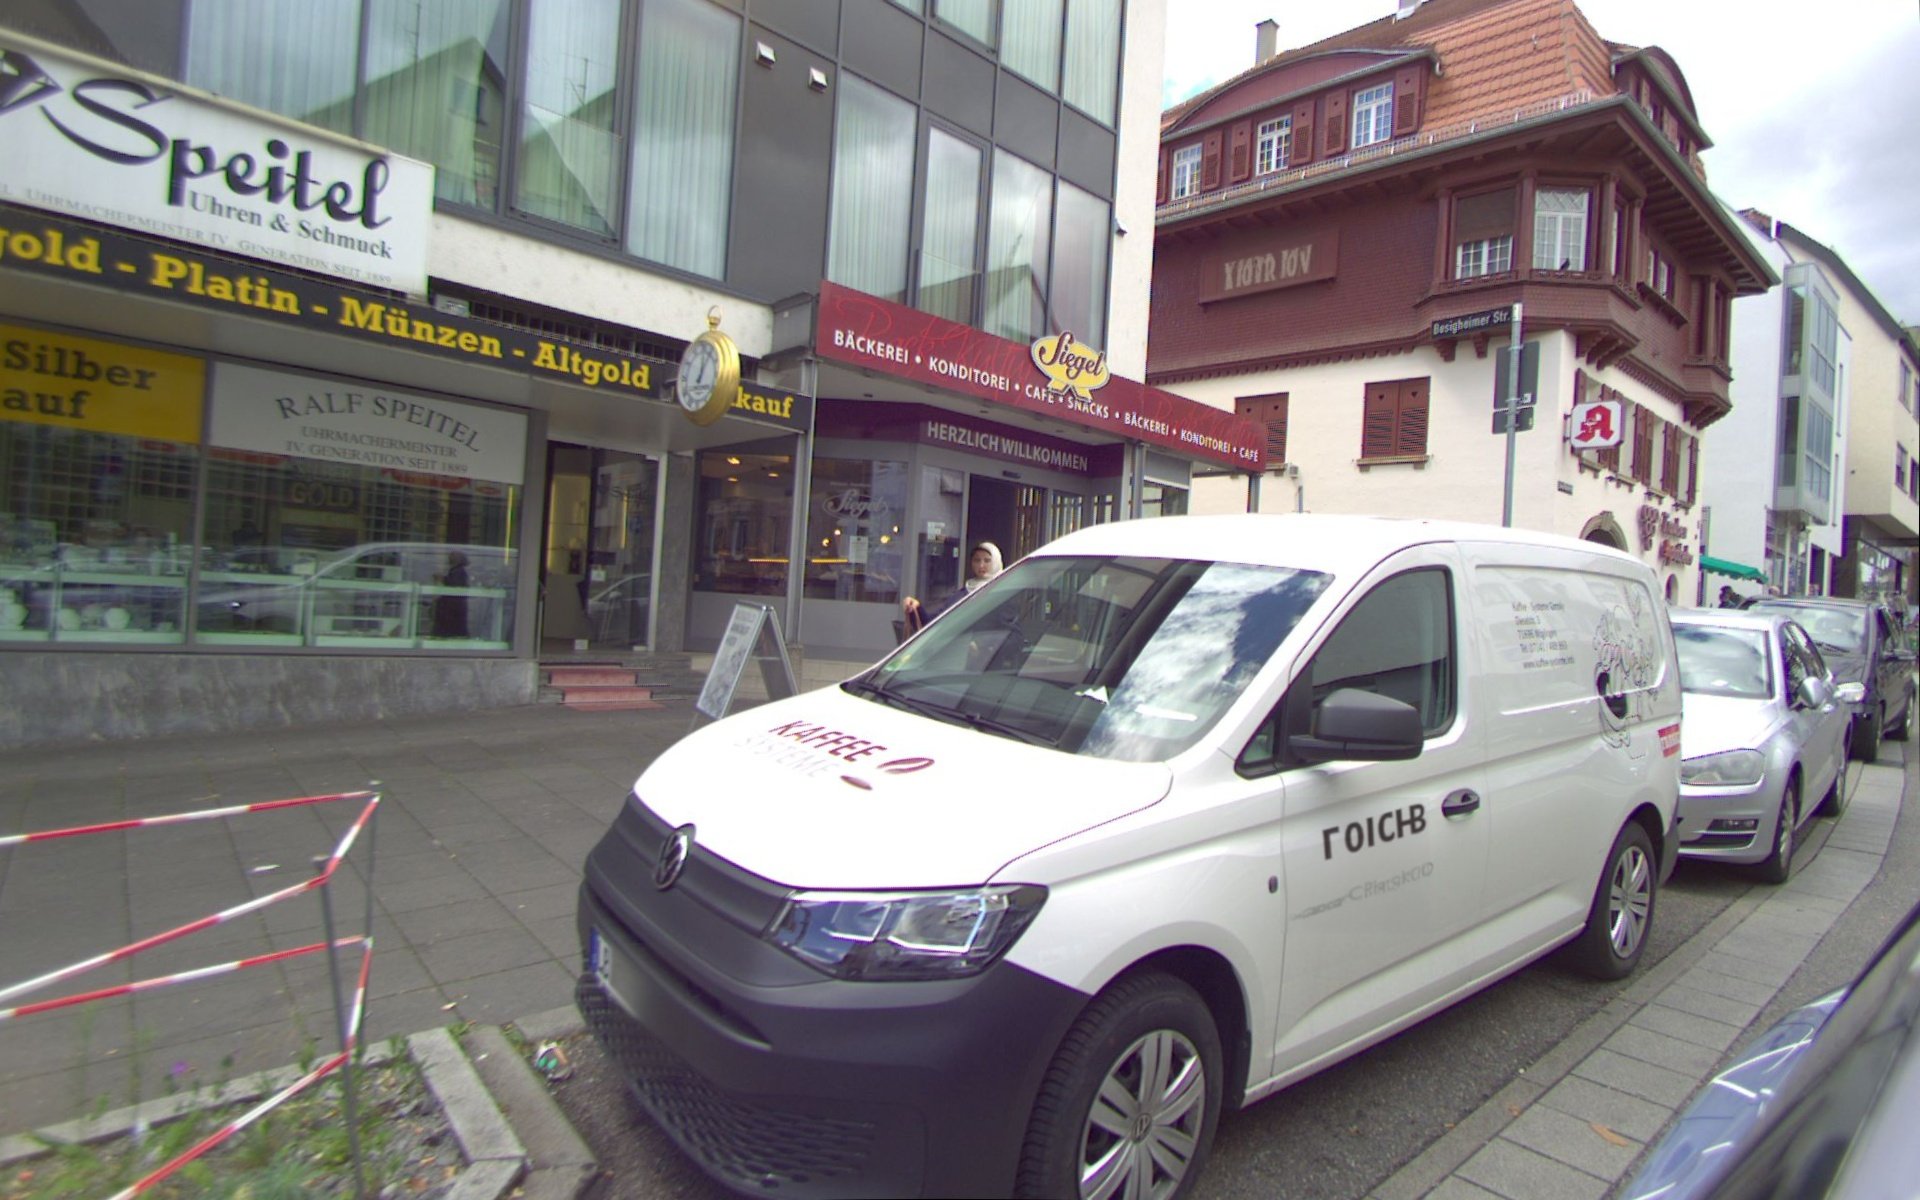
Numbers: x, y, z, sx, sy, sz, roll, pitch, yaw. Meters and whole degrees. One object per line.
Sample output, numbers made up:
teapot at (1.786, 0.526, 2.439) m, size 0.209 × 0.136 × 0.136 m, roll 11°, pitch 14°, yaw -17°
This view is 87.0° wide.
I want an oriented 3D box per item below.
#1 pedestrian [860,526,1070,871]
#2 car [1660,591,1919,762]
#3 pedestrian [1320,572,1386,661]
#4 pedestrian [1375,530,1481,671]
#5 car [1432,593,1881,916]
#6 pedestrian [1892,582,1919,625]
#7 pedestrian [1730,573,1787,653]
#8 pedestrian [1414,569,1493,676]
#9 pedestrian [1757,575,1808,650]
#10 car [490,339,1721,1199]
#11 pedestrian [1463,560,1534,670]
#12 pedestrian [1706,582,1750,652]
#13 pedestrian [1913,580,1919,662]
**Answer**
pedestrian at (0.014, 0.470, 5.504) m, size 0.786 × 1.686 × 0.827 m, roll 0°, pitch 1°, yaw -35°
car at (9.572, 0.709, 11.438) m, size 3.884 × 1.575 × 1.806 m, roll 0°, pitch 1°, yaw -41°
pedestrian at (7.188, 0.292, 18.508) m, size 0.792 × 1.549 × 0.727 m, roll 0°, pitch 4°, yaw -35°
pedestrian at (6.028, -0.011, 13.044) m, size 0.927 × 1.728 × 0.867 m, roll 0°, pitch 1°, yaw -35°
car at (4.855, 0.729, 6.822) m, size 3.933 × 1.485 × 1.705 m, roll 0°, pitch 2°, yaw -44°
pedestrian at (38.734, 0.136, 41.387) m, size 0.767 × 1.693 × 0.759 m, roll 0°, pitch 4°, yaw -43°
pedestrian at (19.057, 0.296, 24.161) m, size 0.690 × 1.880 × 0.780 m, roll 1°, pitch 1°, yaw 2°
pedestrian at (8.007, 0.345, 16.433) m, size 0.853 × 1.665 × 0.775 m, roll 0°, pitch 2°, yaw -35°
pedestrian at (20.005, 0.296, 24.630) m, size 0.612 × 1.789 × 0.704 m, roll 1°, pitch 1°, yaw -15°
car at (0.977, 0.482, 3.779) m, size 4.646 × 1.822 × 1.881 m, roll 0°, pitch 1°, yaw -39°
pedestrian at (9.018, 0.236, 16.956) m, size 0.803 × 1.791 × 0.776 m, roll 0°, pitch 1°, yaw -39°
pedestrian at (18.410, 0.402, 24.257) m, size 0.689 × 1.633 × 0.625 m, roll 0°, pitch 1°, yaw -36°
pedestrian at (21.889, 0.481, 22.471) m, size 0.985 × 1.810 × 0.905 m, roll 2°, pitch 1°, yaw 45°
